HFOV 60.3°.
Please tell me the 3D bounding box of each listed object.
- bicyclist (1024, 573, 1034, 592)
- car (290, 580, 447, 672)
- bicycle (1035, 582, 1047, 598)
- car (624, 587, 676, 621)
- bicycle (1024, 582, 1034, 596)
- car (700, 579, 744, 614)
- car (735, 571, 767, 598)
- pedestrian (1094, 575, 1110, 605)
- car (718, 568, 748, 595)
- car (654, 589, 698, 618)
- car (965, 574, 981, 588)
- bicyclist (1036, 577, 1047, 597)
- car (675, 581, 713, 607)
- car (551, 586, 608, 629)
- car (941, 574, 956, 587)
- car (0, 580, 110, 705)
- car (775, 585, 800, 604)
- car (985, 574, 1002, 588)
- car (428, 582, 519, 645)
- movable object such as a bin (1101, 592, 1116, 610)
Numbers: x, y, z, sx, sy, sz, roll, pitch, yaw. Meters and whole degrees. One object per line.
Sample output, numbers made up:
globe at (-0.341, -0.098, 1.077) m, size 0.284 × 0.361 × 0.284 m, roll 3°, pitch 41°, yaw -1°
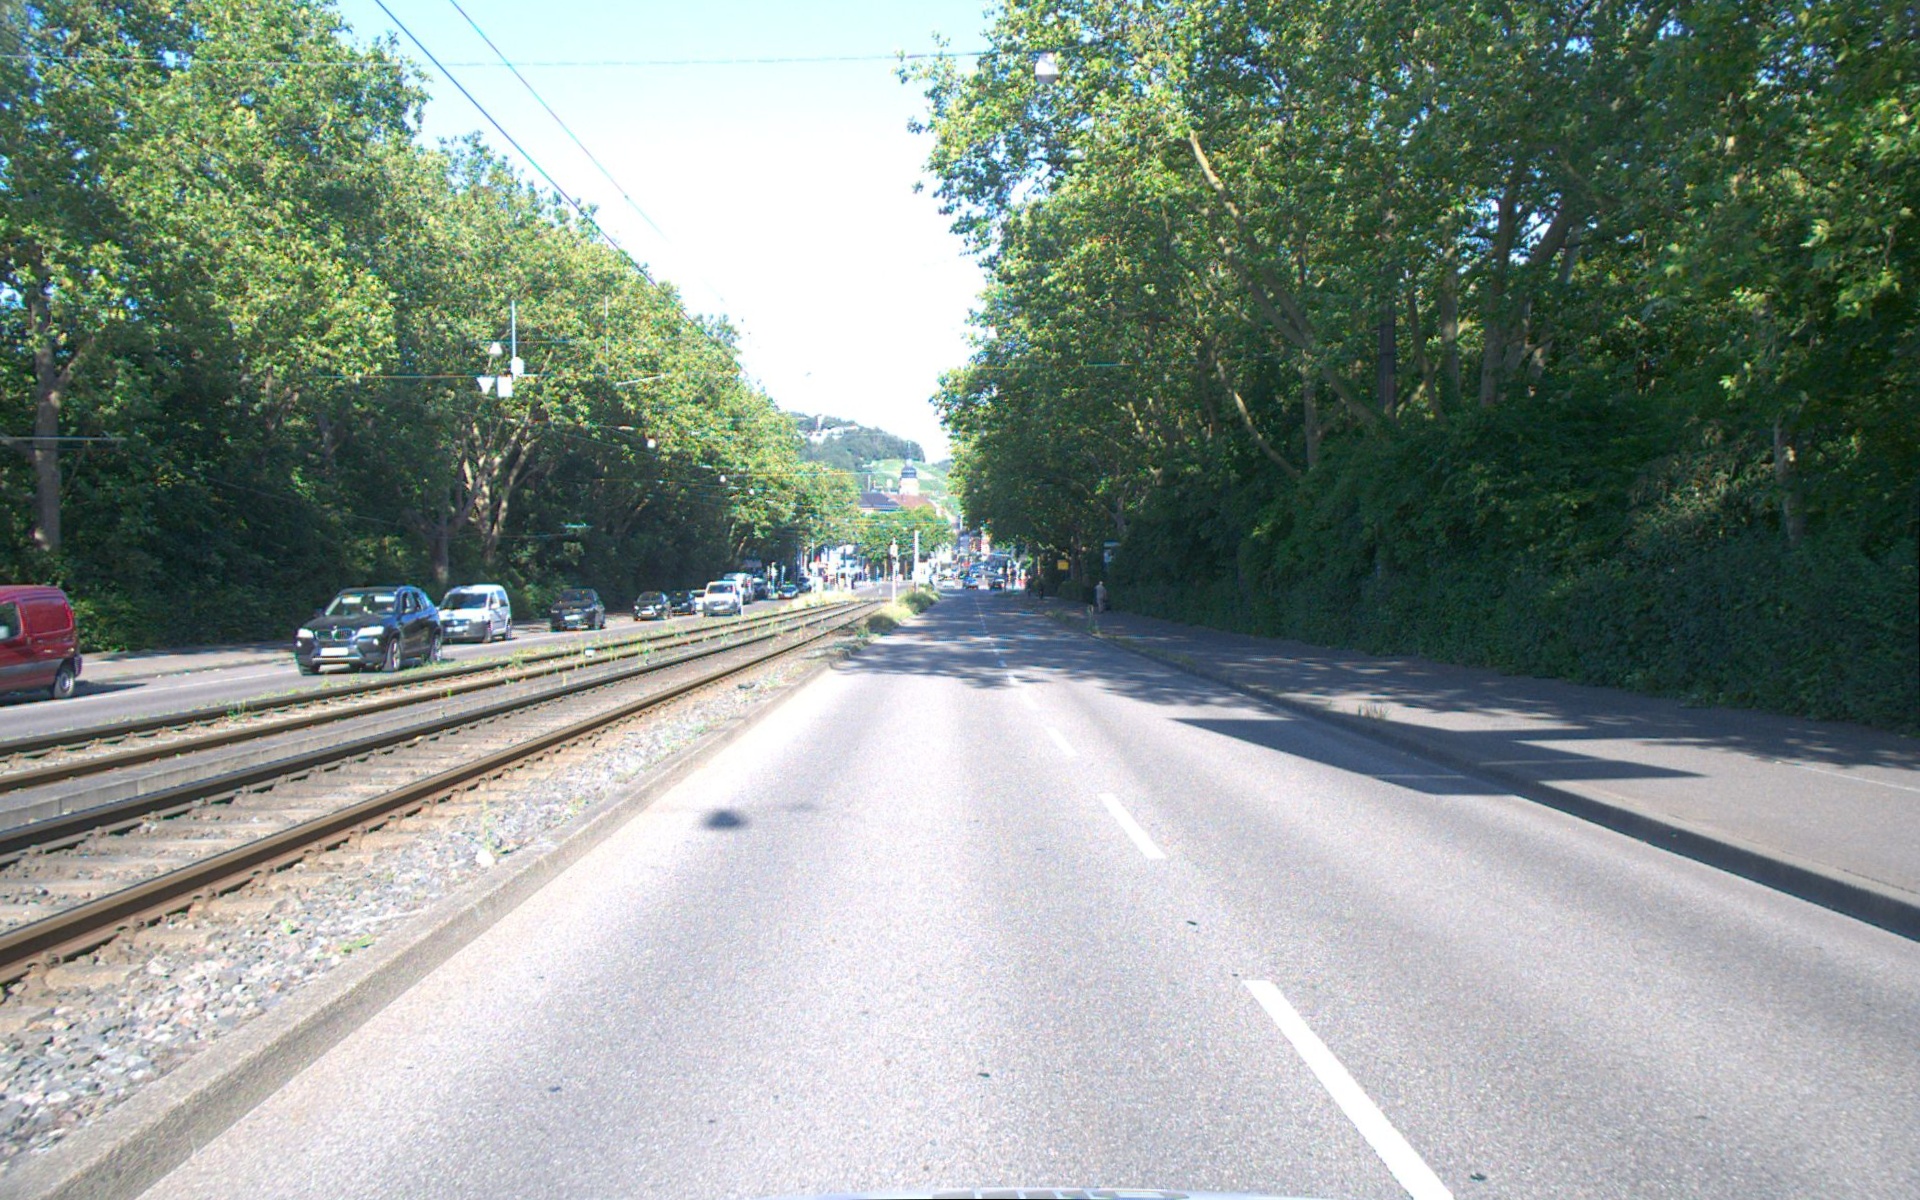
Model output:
bicyclist at (6.738, -1.694, 161.956) m, size 0.869 × 1.805 × 1.222 m, roll -1°, pitch 0°, yaw 0°
car at (-11.832, 0.461, 33.400) m, size 1.707 × 1.651 × 4.393 m, roll -1°, pitch 1°, yaw -2°
bicycle at (6.980, -0.845, 142.396) m, size 0.869 × 1.344 × 2.639 m, roll -1°, pitch 0°, yaw 0°
car at (-16.440, 0.172, 87.933) m, size 1.953 × 1.726 × 4.743 m, roll -1°, pitch 0°, yaw -2°
bicycle at (6.737, -1.069, 162.074) m, size 0.869 × 1.344 × 2.639 m, roll -1°, pitch 0°, yaw 0°
car at (-13.326, -0.198, 92.784) m, size 1.954 × 1.876 × 5.298 m, roll -1°, pitch 1°, yaw -3°
car at (-20.280, -1.491, 160.823) m, size 2.345 × 2.567 × 5.899 m, roll -1°, pitch 0°, yaw 0°
pedestrian at (7.626, -0.522, 88.730) m, size 0.787 × 1.573 × 0.814 m, roll -1°, pitch 0°, yaw 3°
car at (-19.160, -1.559, 139.828) m, size 1.953 × 2.201 × 5.812 m, roll -1°, pitch 0°, yaw -2°
car at (-17.307, 0.195, 101.007) m, size 1.953 × 1.726 × 4.743 m, roll -1°, pitch 0°, yaw -2°
car at (1.904, -2.806, 247.826) m, size 2.345 × 2.034 × 5.305 m, roll -1°, pitch 0°, yaw 0°
bicyclist at (6.979, -1.137, 142.493) m, size 0.869 × 1.667 × 1.164 m, roll -1°, pitch 0°, yaw 0°
car at (-18.007, -0.441, 112.269) m, size 1.953 × 1.726 × 4.743 m, roll -1°, pitch 0°, yaw -2°
car at (-15.641, 0.290, 68.155) m, size 1.708 × 1.665 × 3.996 m, roll -1°, pitch 1°, yaw -5°
car at (-1.782, -2.995, 257.427) m, size 2.345 × 2.034 × 5.305 m, roll -1°, pitch 0°, yaw 0°
car at (-14.802, 0.611, 24.855) m, size 1.706 × 1.784 × 4.683 m, roll 0°, pitch 1°, yaw -1°
car at (-16.018, -0.519, 153.889) m, size 1.953 × 1.726 × 4.743 m, roll -1°, pitch 0°, yaw -2°
car at (4.961, -2.806, 243.080) m, size 2.345 × 2.034 × 5.305 m, roll -1°, pitch 0°, yaw 0°
car at (-15.517, 0.401, 52.960) m, size 1.707 × 1.773 × 4.512 m, roll -3°, pitch 1°, yaw -3°
movable object such as a bin at (7.897, 0.043, 87.972) m, size 0.787 × 0.964 × 0.656 m, roll -1°, pitch 0°, yaw 3°
